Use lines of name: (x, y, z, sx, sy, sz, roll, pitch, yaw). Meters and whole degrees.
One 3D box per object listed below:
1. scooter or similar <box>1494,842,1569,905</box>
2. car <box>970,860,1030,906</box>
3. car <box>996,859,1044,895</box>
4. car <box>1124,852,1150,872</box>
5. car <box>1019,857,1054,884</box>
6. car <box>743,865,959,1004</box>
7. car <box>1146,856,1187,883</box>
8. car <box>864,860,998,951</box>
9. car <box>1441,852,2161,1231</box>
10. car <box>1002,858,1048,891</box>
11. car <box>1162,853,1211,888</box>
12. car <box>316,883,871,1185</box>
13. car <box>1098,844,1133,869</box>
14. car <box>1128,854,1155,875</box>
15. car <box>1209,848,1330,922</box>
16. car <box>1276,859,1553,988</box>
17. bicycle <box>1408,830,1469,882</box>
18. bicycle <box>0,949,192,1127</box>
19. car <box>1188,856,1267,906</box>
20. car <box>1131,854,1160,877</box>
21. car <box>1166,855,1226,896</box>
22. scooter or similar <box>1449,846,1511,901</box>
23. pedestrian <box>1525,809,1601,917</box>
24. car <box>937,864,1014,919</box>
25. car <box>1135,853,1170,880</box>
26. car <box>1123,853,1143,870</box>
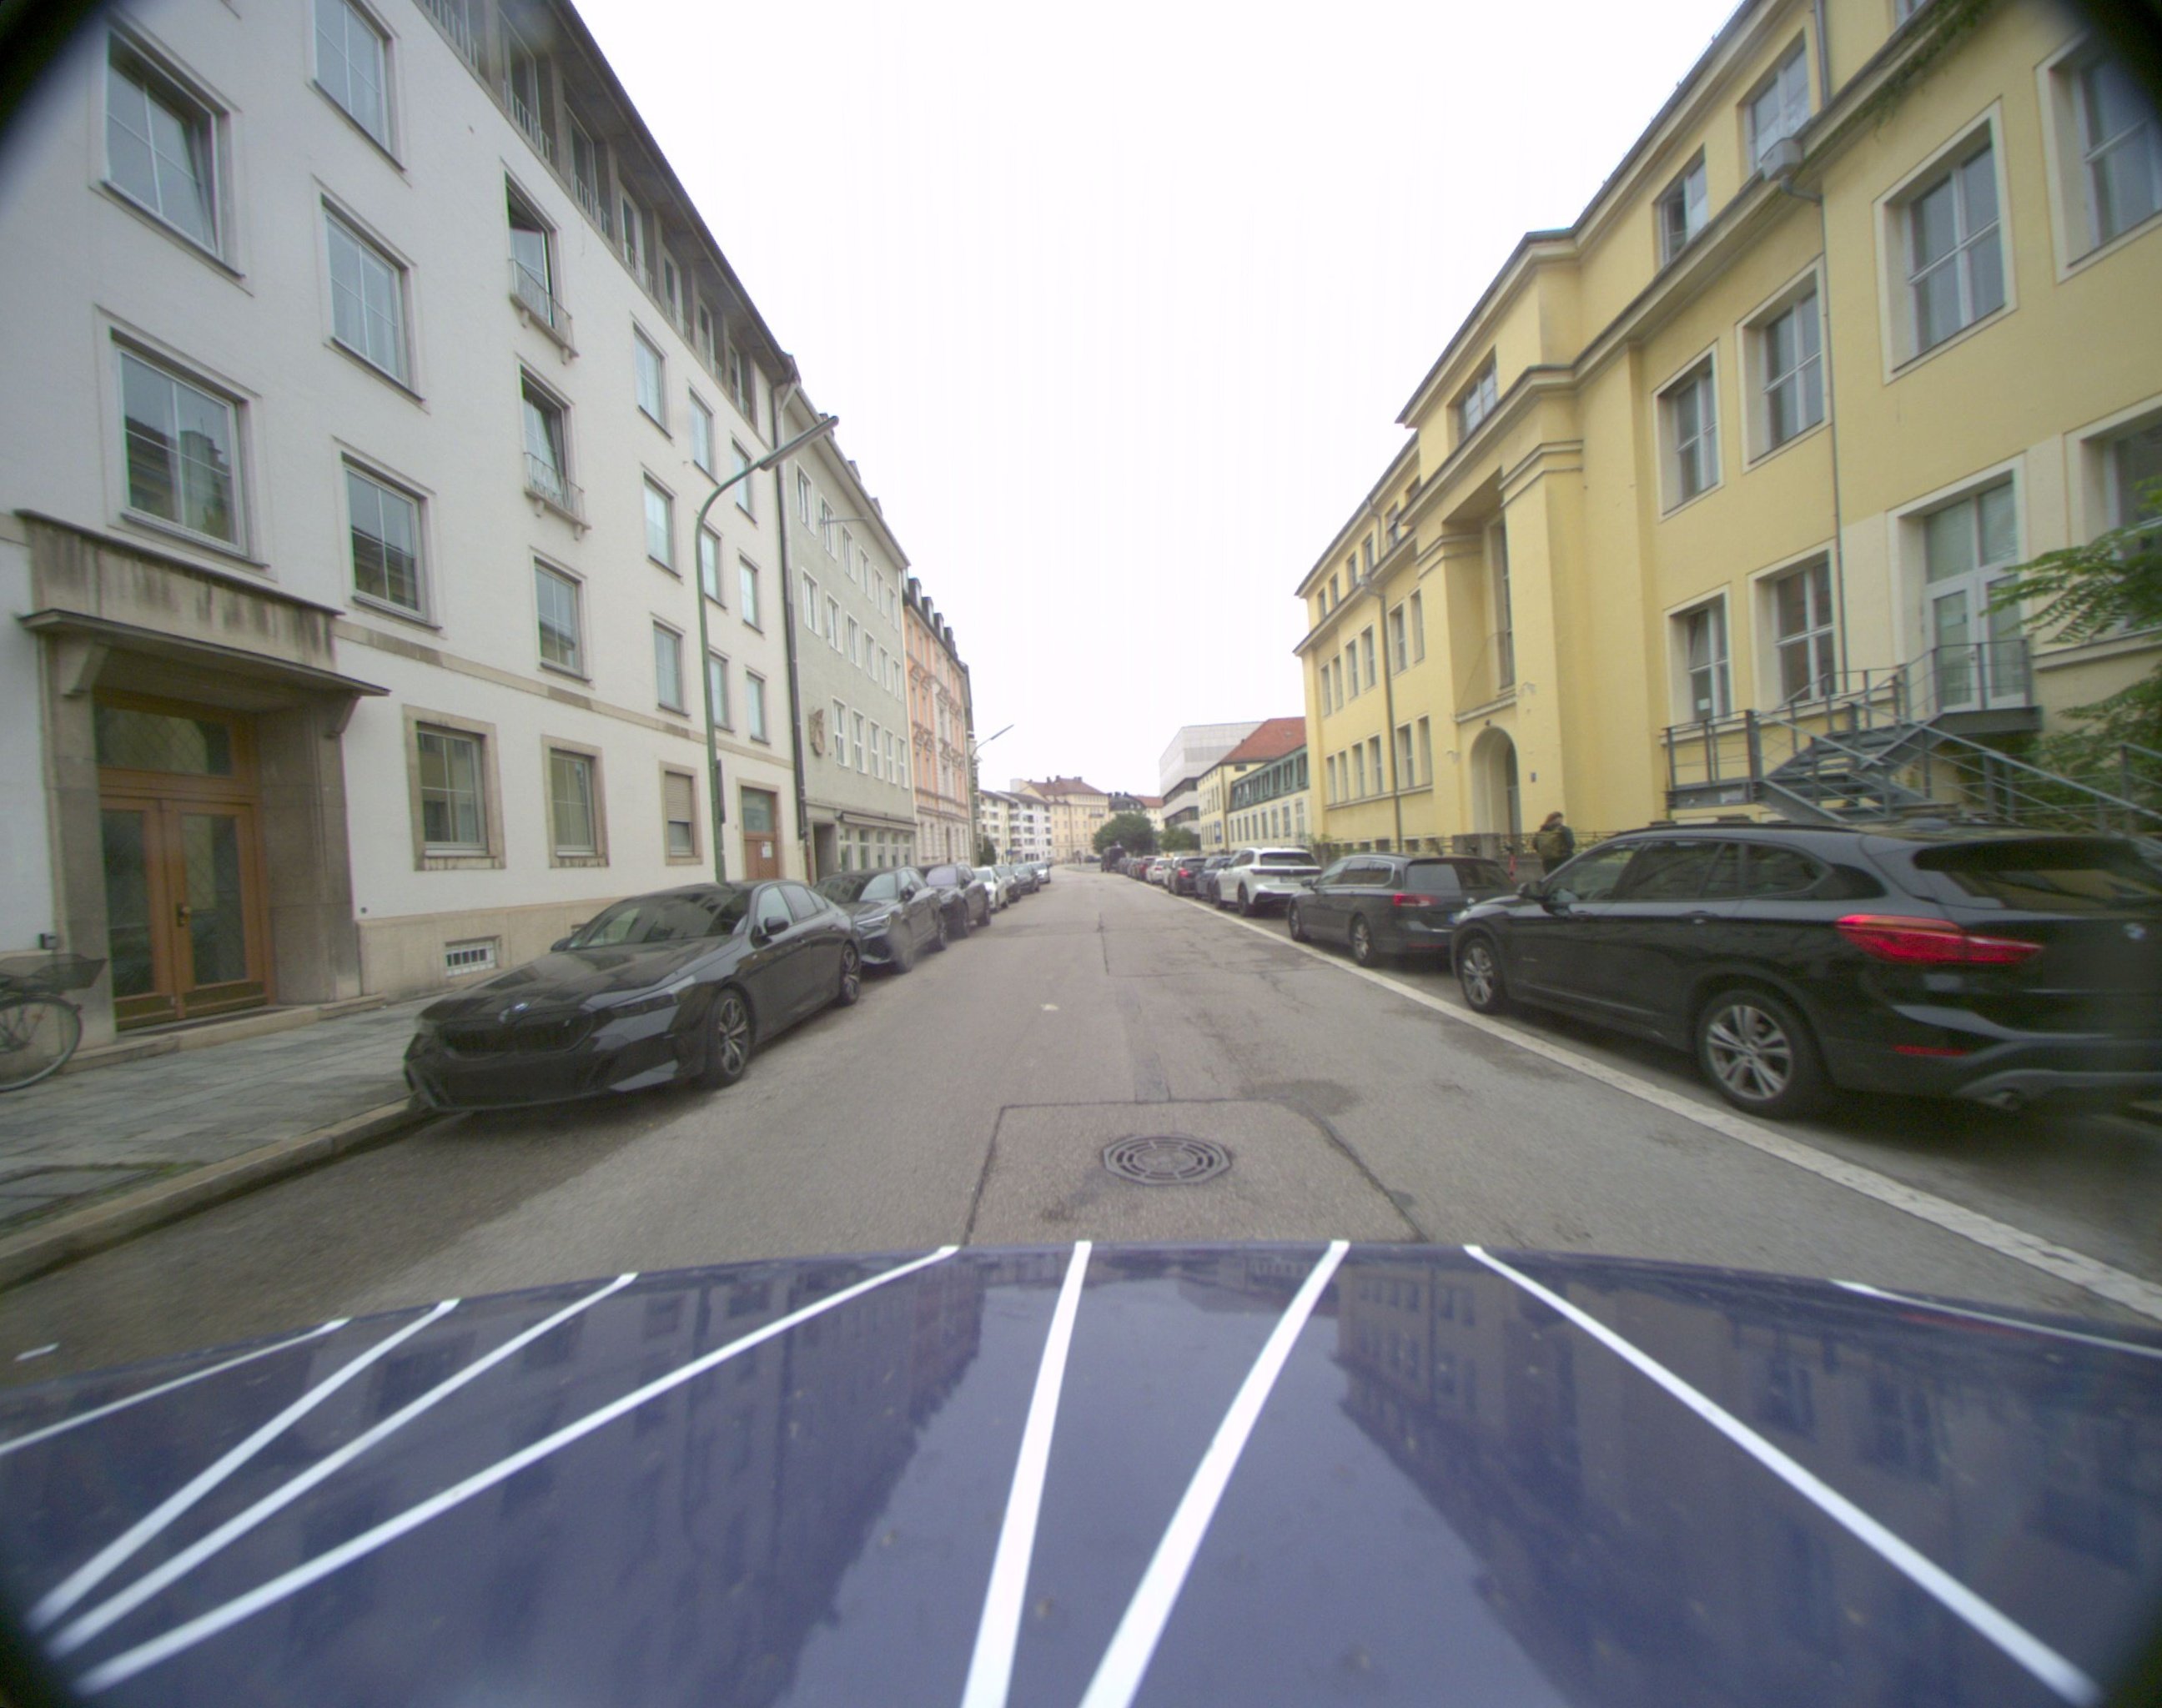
scooter or similar: (8.648, 0.368, 14.651, 0.532, 1.129, 1.445, -3, 0, 1)
car: (-3.182, 1.113, 30.573, 1.768, 1.531, 4.000, -6, 0, 1)
car: (-2.916, 1.079, 37.016, 1.725, 1.457, 4.192, -6, 0, 2)
car: (4.984, 0.692, 67.818, 1.998, 1.631, 4.209, -2, 0, 0)
car: (-3.058, 1.125, 53.596, 2.001, 1.563, 4.491, -6, 0, 1)
car: (-3.340, 1.084, 12.074, 1.831, 1.572, 4.491, -5, 0, 1)
car: (4.654, 0.814, 41.771, 1.816, 1.390, 4.020, -1, 0, 0)
car: (-3.161, 1.016, 16.998, 1.831, 1.572, 4.491, -5, 0, 2)
car: (4.369, 0.750, 5.186, 1.774, 1.494, 4.273, -1, 0, 0)
car: (-3.125, 1.132, 43.284, 2.001, 1.563, 4.491, -6, 0, 2)
car: (4.690, 0.708, 34.289, 1.690, 1.438, 4.112, -1, 0, 1)
car: (-3.502, 1.146, 6.812, 1.878, 1.439, 4.699, -5, 0, -1)
car: (3.763, 0.312, 84.185, 2.848, 2.537, 6.889, -3, 0, -6)
car: (4.558, 0.785, 57.681, 1.673, 1.419, 3.947, -2, 0, 1)
car: (4.511, 0.675, 18.879, 1.786, 1.631, 4.299, 0, 0, -2)
car: (4.296, 0.790, 10.728, 1.778, 1.400, 4.600, 0, 0, -2)
bicycle: (8.676, 0.045, 18.506, 0.585, 1.181, 1.766, -4, 0, 1)
bicycle: (-7.673, 1.326, 5.273, 0.599, 1.073, 2.039, -1, 0, -1)
car: (4.540, 0.783, 24.060, 1.611, 1.438, 3.916, 0, 0, -2)
car: (4.485, 0.761, 53.331, 1.673, 1.509, 3.947, -2, 0, 1)
car: (4.325, 0.783, 29.008, 1.738, 1.431, 3.779, -1, 0, 0)
scooter or similar: (8.695, 0.412, 16.613, 0.532, 1.129, 1.445, -3, -1, 1)
pedestrian: (8.430, 0.154, 13.322, 0.776, 1.813, 0.782, -3, 1, 4)
car: (-3.293, 1.141, 24.483, 1.745, 1.422, 4.181, -5, 0, 1)
car: (4.437, 0.752, 47.686, 1.774, 1.545, 4.209, -1, 0, 0)
car: (4.932, 0.700, 72.615, 1.673, 1.509, 3.947, -2, 0, 1)
